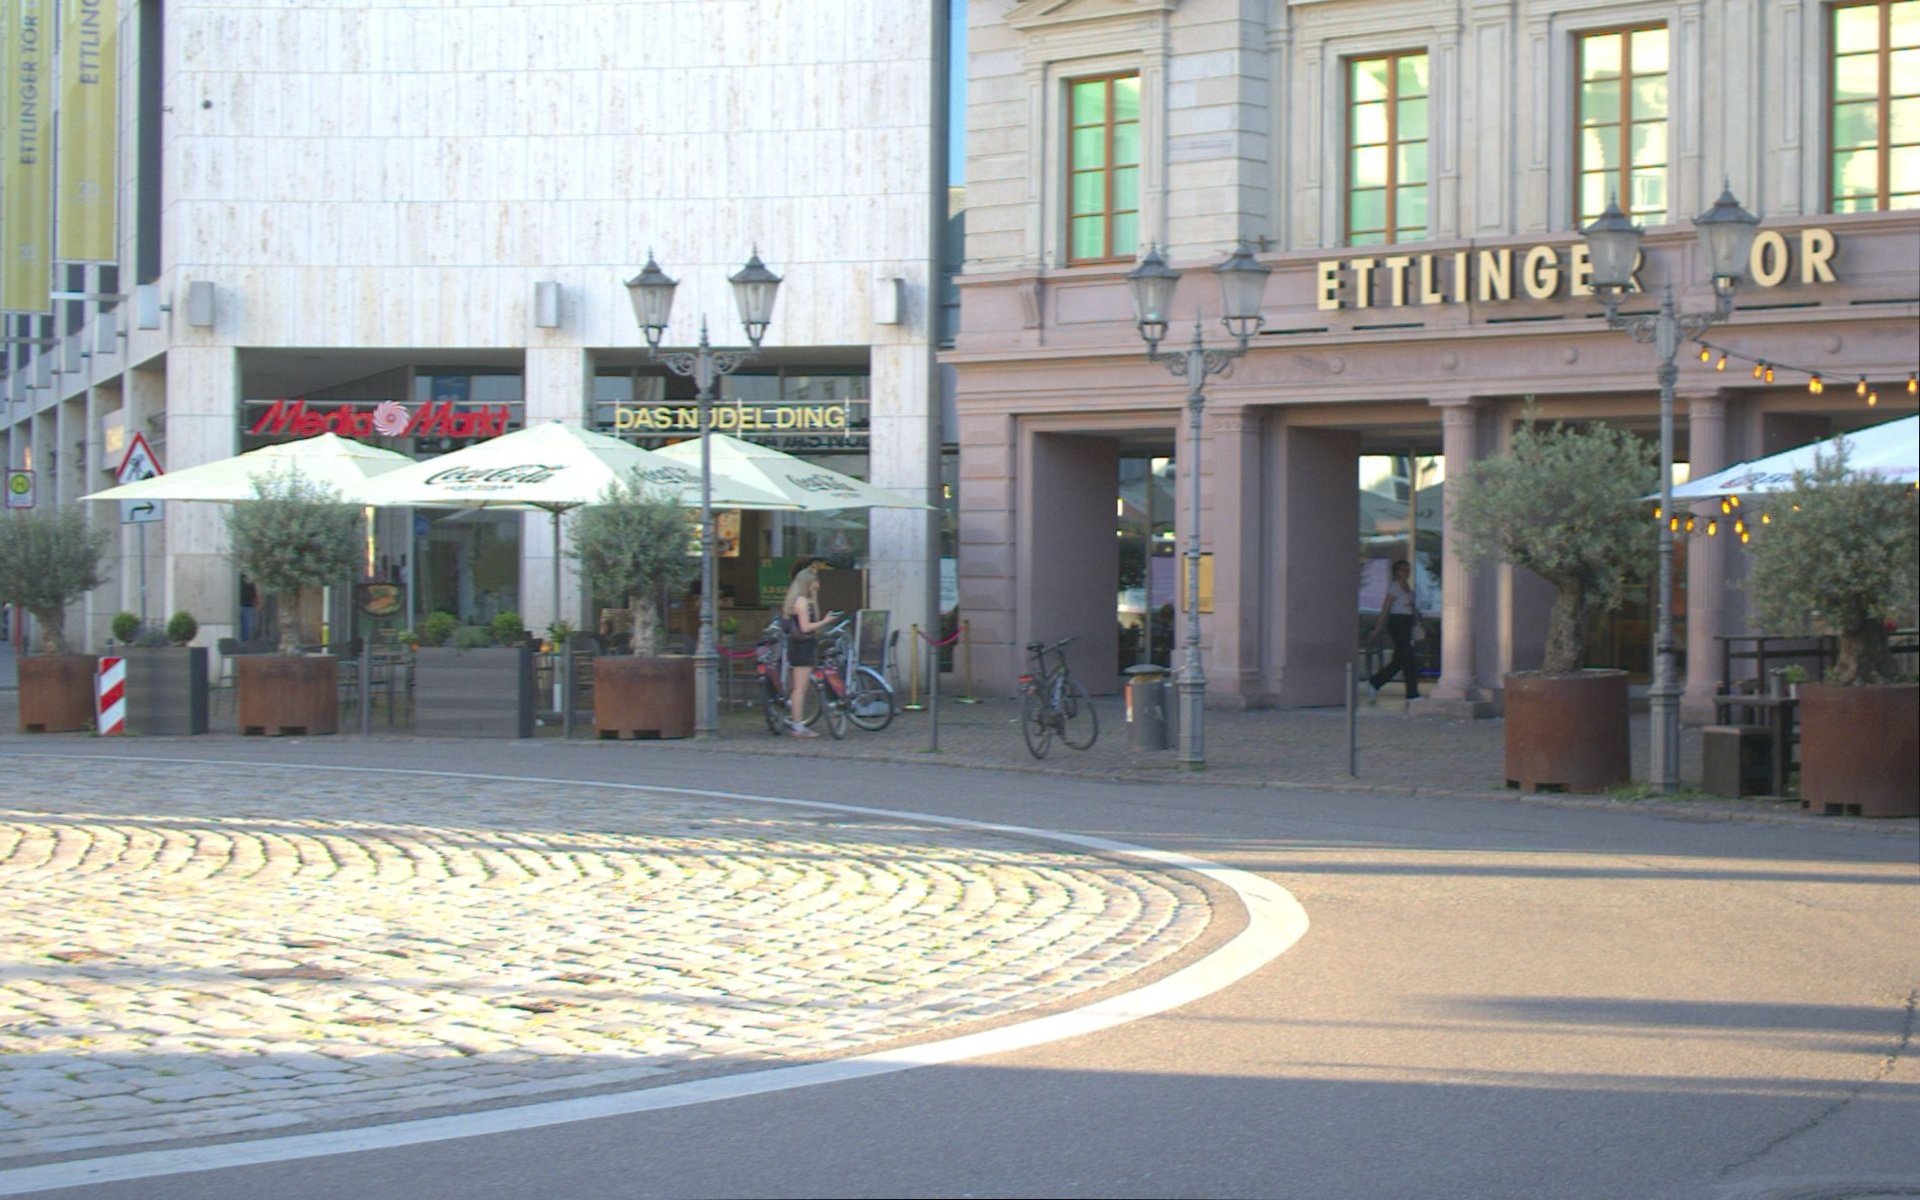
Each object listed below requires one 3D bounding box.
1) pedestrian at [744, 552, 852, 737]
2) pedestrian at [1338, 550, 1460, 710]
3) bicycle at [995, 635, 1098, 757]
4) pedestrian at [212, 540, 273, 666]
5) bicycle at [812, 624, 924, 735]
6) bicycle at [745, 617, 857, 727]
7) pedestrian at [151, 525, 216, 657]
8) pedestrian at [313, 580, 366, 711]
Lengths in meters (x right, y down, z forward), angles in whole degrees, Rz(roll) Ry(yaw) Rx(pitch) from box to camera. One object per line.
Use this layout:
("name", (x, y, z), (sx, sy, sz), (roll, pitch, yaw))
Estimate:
("pedestrian", (-1.533, 0.407, 32.419), (0.904, 1.722, 0.850), (0, 1, -11))
("pedestrian", (5.082, 0.332, 39.813), (0.968, 1.816, 0.990), (0, 1, -44))
("bicycle", (0.787, 0.845, 30.797), (0.507, 1.028, 1.644), (1, 1, 16))
("pedestrian", (-10.207, 0.042, 48.918), (0.707, 1.781, 0.645), (0, 1, -26))
("bicycle", (-0.894, 0.769, 33.735), (0.620, 1.028, 1.644), (1, 1, 16))
("bicycle", (-1.552, 0.699, 33.856), (0.600, 1.028, 1.644), (1, 1, 16))
("pedestrian", (-10.763, -0.130, 47.648), (0.636, 1.810, 0.698), (0, 1, -36))
("pedestrian", (-6.673, 0.486, 36.979), (0.506, 1.393, 0.496), (0, 0, -4))
